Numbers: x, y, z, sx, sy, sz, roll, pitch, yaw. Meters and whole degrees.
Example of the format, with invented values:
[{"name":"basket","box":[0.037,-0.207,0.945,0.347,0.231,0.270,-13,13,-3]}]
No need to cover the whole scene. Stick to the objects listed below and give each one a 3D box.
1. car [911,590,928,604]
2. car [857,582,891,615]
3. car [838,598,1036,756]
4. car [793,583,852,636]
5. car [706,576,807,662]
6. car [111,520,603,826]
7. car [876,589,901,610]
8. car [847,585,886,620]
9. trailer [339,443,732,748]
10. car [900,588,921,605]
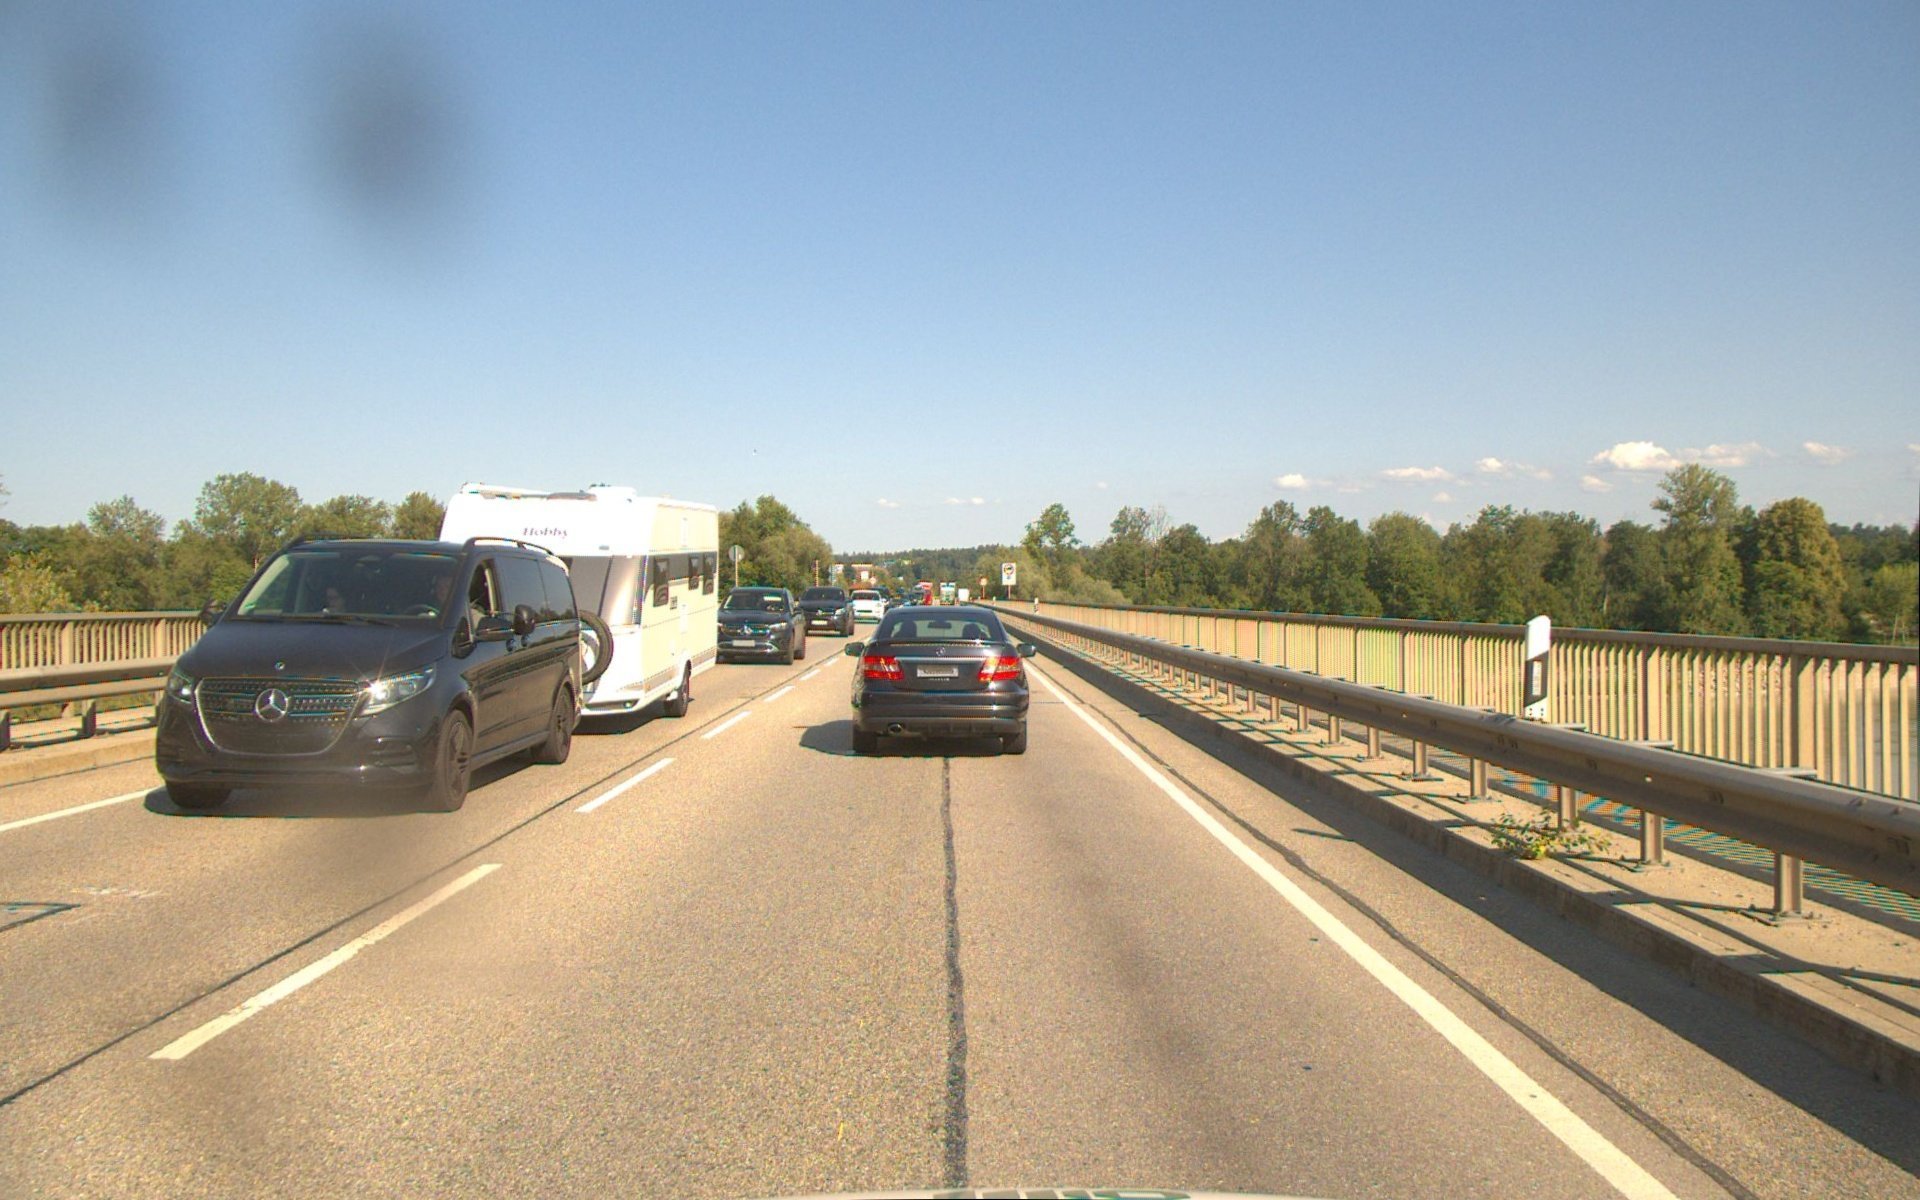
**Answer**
[{"name":"car","box":[-4.632,-0.352,188.967,1.771,1.605,4.197,1,0,-4]},{"name":"car","box":[-5.361,-0.099,102.348,1.997,1.906,5.066,2,0,-4]},{"name":"car","box":[-0.215,0.692,16.791,1.757,1.400,3.999,0,0,0]},{"name":"car","box":[-4.807,0.294,58.399,1.910,1.723,4.474,2,0,-4]},{"name":"car","box":[-4.376,0.363,36.089,1.766,1.690,4.431,2,0,-2]},{"name":"car","box":[-4.277,0.456,12.756,1.942,1.886,5.008,0,0,0]},{"name":"car","box":[-5.212,-0.048,119.984,1.730,1.472,4.453,1,0,-4]},{"name":"car","box":[-4.882,0.101,86.056,1.944,1.680,4.594,2,0,-4]},{"name":"trailer","box":[-4.470,-0.064,19.293,2.503,2.785,8.062,1,0,0]},{"name":"car","box":[-5.236,-0.390,174.196,2.013,1.681,4.718,2,0,-4]}]
